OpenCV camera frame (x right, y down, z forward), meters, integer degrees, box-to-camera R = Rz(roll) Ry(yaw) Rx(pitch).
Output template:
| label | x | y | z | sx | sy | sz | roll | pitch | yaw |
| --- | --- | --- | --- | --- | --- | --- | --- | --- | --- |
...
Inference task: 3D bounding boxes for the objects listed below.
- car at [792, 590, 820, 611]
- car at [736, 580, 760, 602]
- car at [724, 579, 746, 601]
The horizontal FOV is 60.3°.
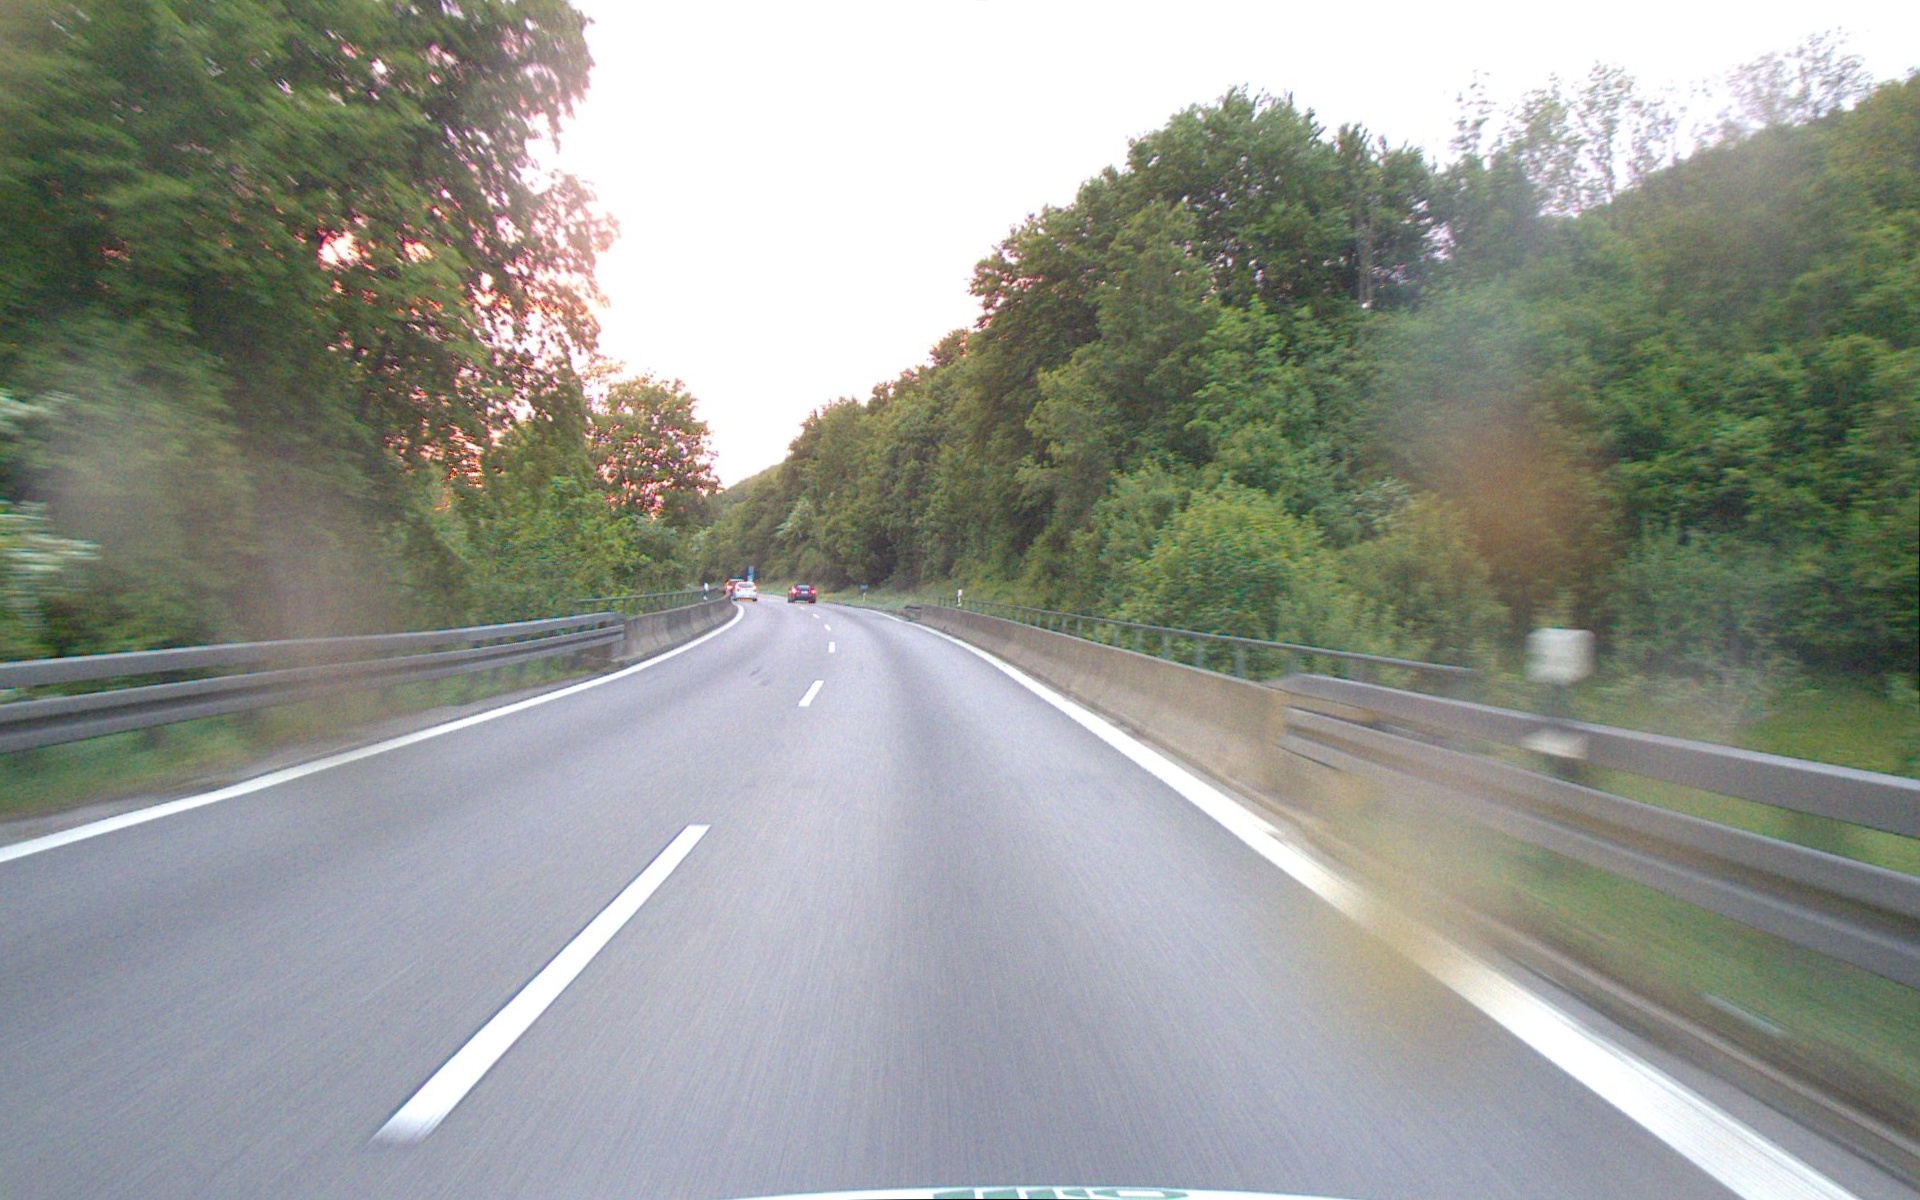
| label | x | y | z | sx | sy | sz | roll | pitch | yaw |
| --- | --- | --- | --- | --- | --- | --- | --- | --- | --- |
| car | -11.666 | 0.029 | 125.121 | 1.843 | 1.492 | 3.992 | 2 | 1 | -9 |
| car | -16.412 | -0.682 | 128.304 | 1.685 | 1.528 | 3.995 | 2 | -2 | -5 |
| car | -18.950 | -0.851 | 139.226 | 1.686 | 1.663 | 3.993 | -3 | -1 | -7 |
